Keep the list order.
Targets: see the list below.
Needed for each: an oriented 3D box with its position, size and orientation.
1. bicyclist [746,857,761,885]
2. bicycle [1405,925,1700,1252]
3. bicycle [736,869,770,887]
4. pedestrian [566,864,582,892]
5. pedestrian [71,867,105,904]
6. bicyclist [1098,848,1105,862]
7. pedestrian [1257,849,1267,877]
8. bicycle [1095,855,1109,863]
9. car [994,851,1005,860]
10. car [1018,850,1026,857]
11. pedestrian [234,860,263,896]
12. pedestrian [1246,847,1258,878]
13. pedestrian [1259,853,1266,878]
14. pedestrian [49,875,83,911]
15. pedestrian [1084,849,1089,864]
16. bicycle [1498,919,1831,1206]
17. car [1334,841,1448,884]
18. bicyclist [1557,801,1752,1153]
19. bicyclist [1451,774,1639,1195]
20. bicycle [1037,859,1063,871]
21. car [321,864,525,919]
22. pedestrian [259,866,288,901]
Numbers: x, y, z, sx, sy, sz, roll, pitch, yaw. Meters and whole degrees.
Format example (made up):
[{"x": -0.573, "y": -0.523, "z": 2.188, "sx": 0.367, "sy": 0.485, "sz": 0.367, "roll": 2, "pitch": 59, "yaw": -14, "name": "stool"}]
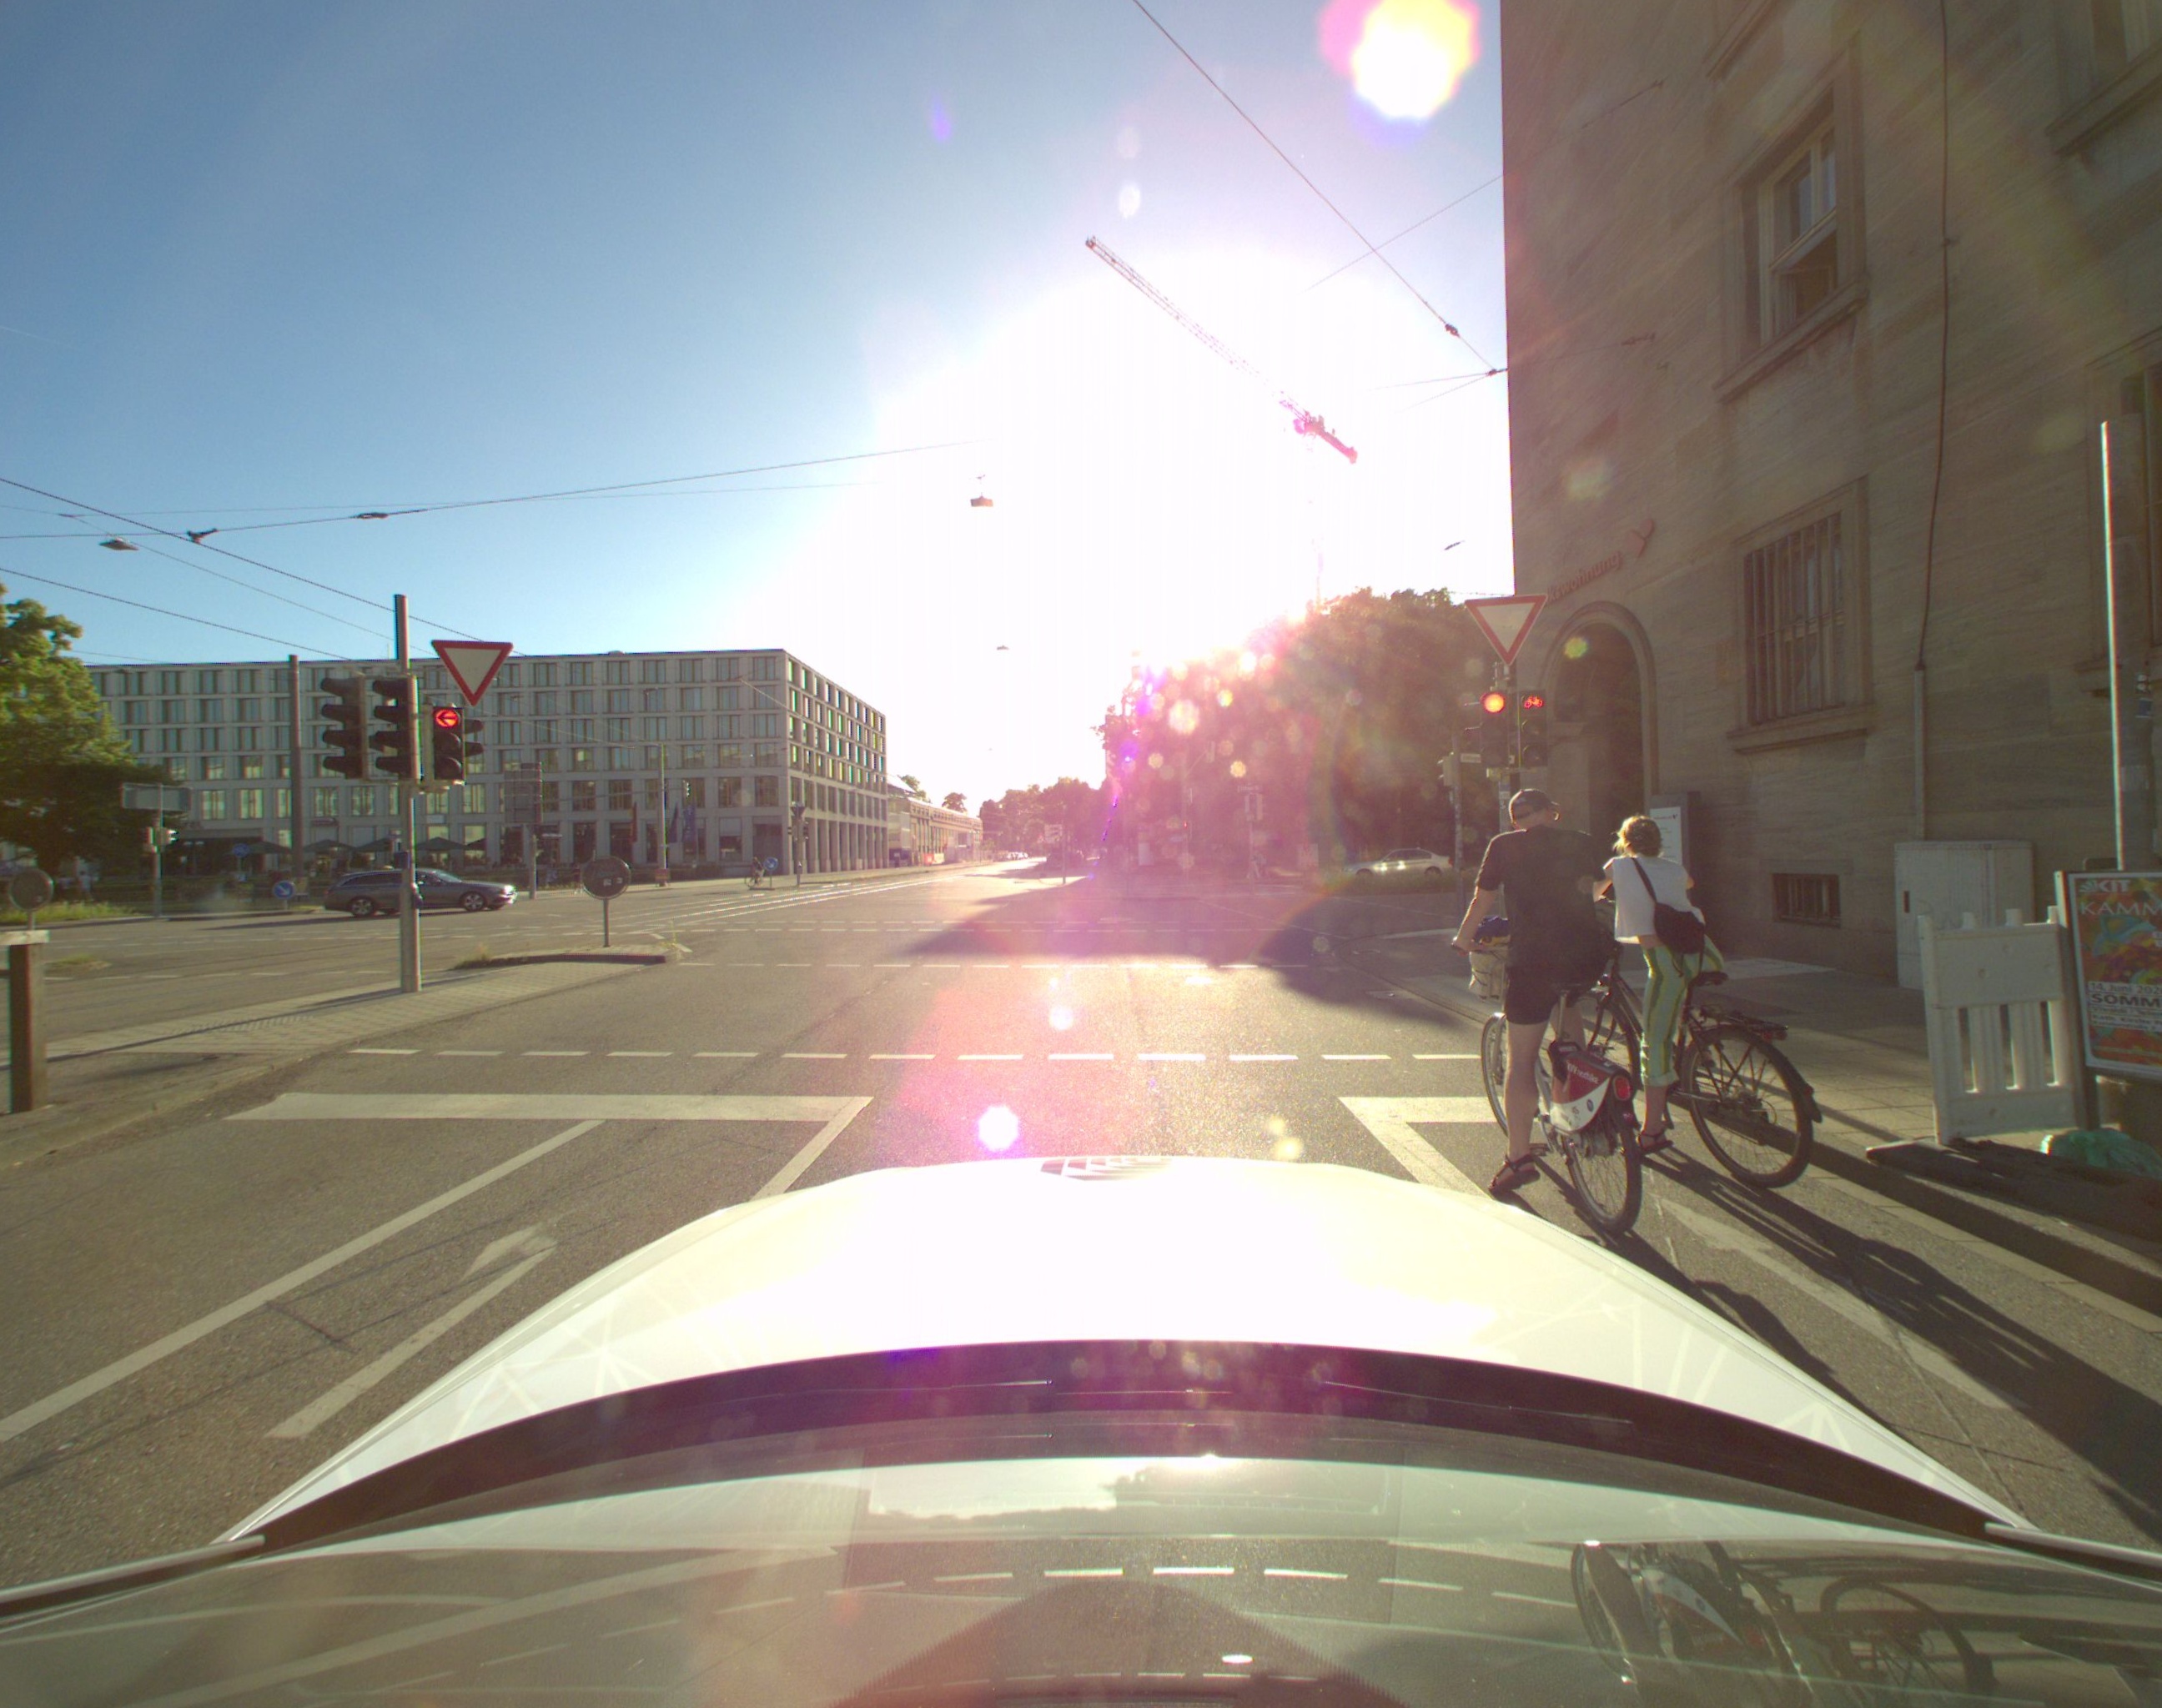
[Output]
[{"x": -19.407, "y": 1.009, "z": 48.296, "sx": 0.778, "sy": 1.589, "sz": 0.756, "roll": -2, "pitch": 0, "yaw": -20, "name": "bicyclist"}, {"x": 2.119, "y": 0.957, "z": 3.936, "sx": 0.513, "sy": 1.077, "sz": 1.729, "roll": -1, "pitch": 0, "yaw": 4, "name": "bicycle"}, {"x": -19.446, "y": 1.418, "z": 48.287, "sx": 1.865, "sy": 0.935, "sz": 0.757, "roll": -2, "pitch": 0, "yaw": -23, "name": "bicycle"}, {"x": -29.592, "y": 1.396, "z": 47.566, "sx": 0.591, "sy": 1.589, "sz": 0.772, "roll": -2, "pitch": -1, "yaw": -20, "name": "pedestrian"}, {"x": -54.908, "y": 1.729, "z": 45.042, "sx": 0.839, "sy": 2.014, "sz": 0.824, "roll": 0, "pitch": -1, "yaw": 0, "name": "pedestrian"}, {"x": 2.665, "y": 0.151, "z": 104.598, "sx": 0.691, "sy": 1.691, "sz": 0.574, "roll": -2, "pitch": 0, "yaw": 43, "name": "bicyclist"}, {"x": 9.873, "y": 0.464, "z": 44.415, "sx": 0.437, "sy": 1.503, "sz": 0.437, "roll": -2, "pitch": 0, "yaw": 3, "name": "pedestrian"}, {"x": 2.696, "y": 0.652, "z": 104.586, "sx": 1.807, "sy": 1.077, "sz": 0.580, "roll": -2, "pitch": 0, "yaw": 42, "name": "bicycle"}, {"x": -15.663, "y": 0.274, "z": 157.073, "sx": 1.688, "sy": 1.718, "sz": 4.245, "roll": 0, "pitch": -1, "yaw": -1, "name": "car"}, {"x": -14.233, "y": -0.105, "z": 195.322, "sx": 1.688, "sy": 1.718, "sz": 4.245, "roll": 0, "pitch": -1, "yaw": -1, "name": "car"}, {"x": -46.995, "y": 1.364, "z": 45.970, "sx": 0.837, "sy": 2.014, "sz": 0.827, "roll": -1, "pitch": -1, "yaw": 11, "name": "pedestrian"}, {"x": 9.243, "y": 0.434, "z": 43.952, "sx": 0.580, "sy": 1.663, "sz": 0.515, "roll": 0, "pitch": 1, "yaw": 4, "name": "pedestrian"}, {"x": 9.675, "y": 0.619, "z": 43.390, "sx": 0.316, "sy": 1.316, "sz": 0.345, "roll": 0, "pitch": 1, "yaw": 4, "name": "pedestrian"}, {"x": -54.943, "y": 2.087, "z": 44.105, "sx": 0.713, "sy": 1.900, "sz": 0.874, "roll": 0, "pitch": -1, "yaw": -1, "name": "pedestrian"}, {"x": 0.673, "y": 0.285, "z": 98.613, "sx": 0.462, "sy": 1.813, "sz": 0.502, "roll": -2, "pitch": 0, "yaw": -3, "name": "pedestrian"}, {"x": 2.941, "y": 0.958, "z": 4.353, "sx": 0.532, "sy": 1.077, "sz": 1.751, "roll": -1, "pitch": 0, "yaw": 1, "name": "bicycle"}, {"x": 12.601, "y": 0.346, "z": 33.251, "sx": 3.979, "sy": 1.611, "sz": 1.650, "roll": -2, "pitch": 0, "yaw": 1, "name": "car"}, {"x": 2.952, "y": 0.591, "z": 4.246, "sx": 0.556, "sy": 1.691, "sz": 0.640, "roll": -1, "pitch": 0, "yaw": 0, "name": "bicyclist"}, {"x": 2.121, "y": 0.561, "z": 3.779, "sx": 0.556, "sy": 1.799, "sz": 0.551, "roll": -1, "pitch": 0, "yaw": 3, "name": "bicyclist"}, {"x": -2.571, "y": 0.910, "z": 67.704, "sx": 1.996, "sy": 0.891, "sz": 0.655, "roll": -4, "pitch": -1, "yaw": 29, "name": "bicycle"}, {"x": -21.432, "y": 1.174, "z": 26.772, "sx": 4.804, "sy": 1.565, "sz": 1.887, "roll": -2, "pitch": 0, "yaw": -18, "name": "car"}, {"x": -44.521, "y": 1.644, "z": 44.892, "sx": 0.712, "sy": 1.900, "sz": 0.876, "roll": -1, "pitch": -1, "yaw": 7, "name": "pedestrian"}]
